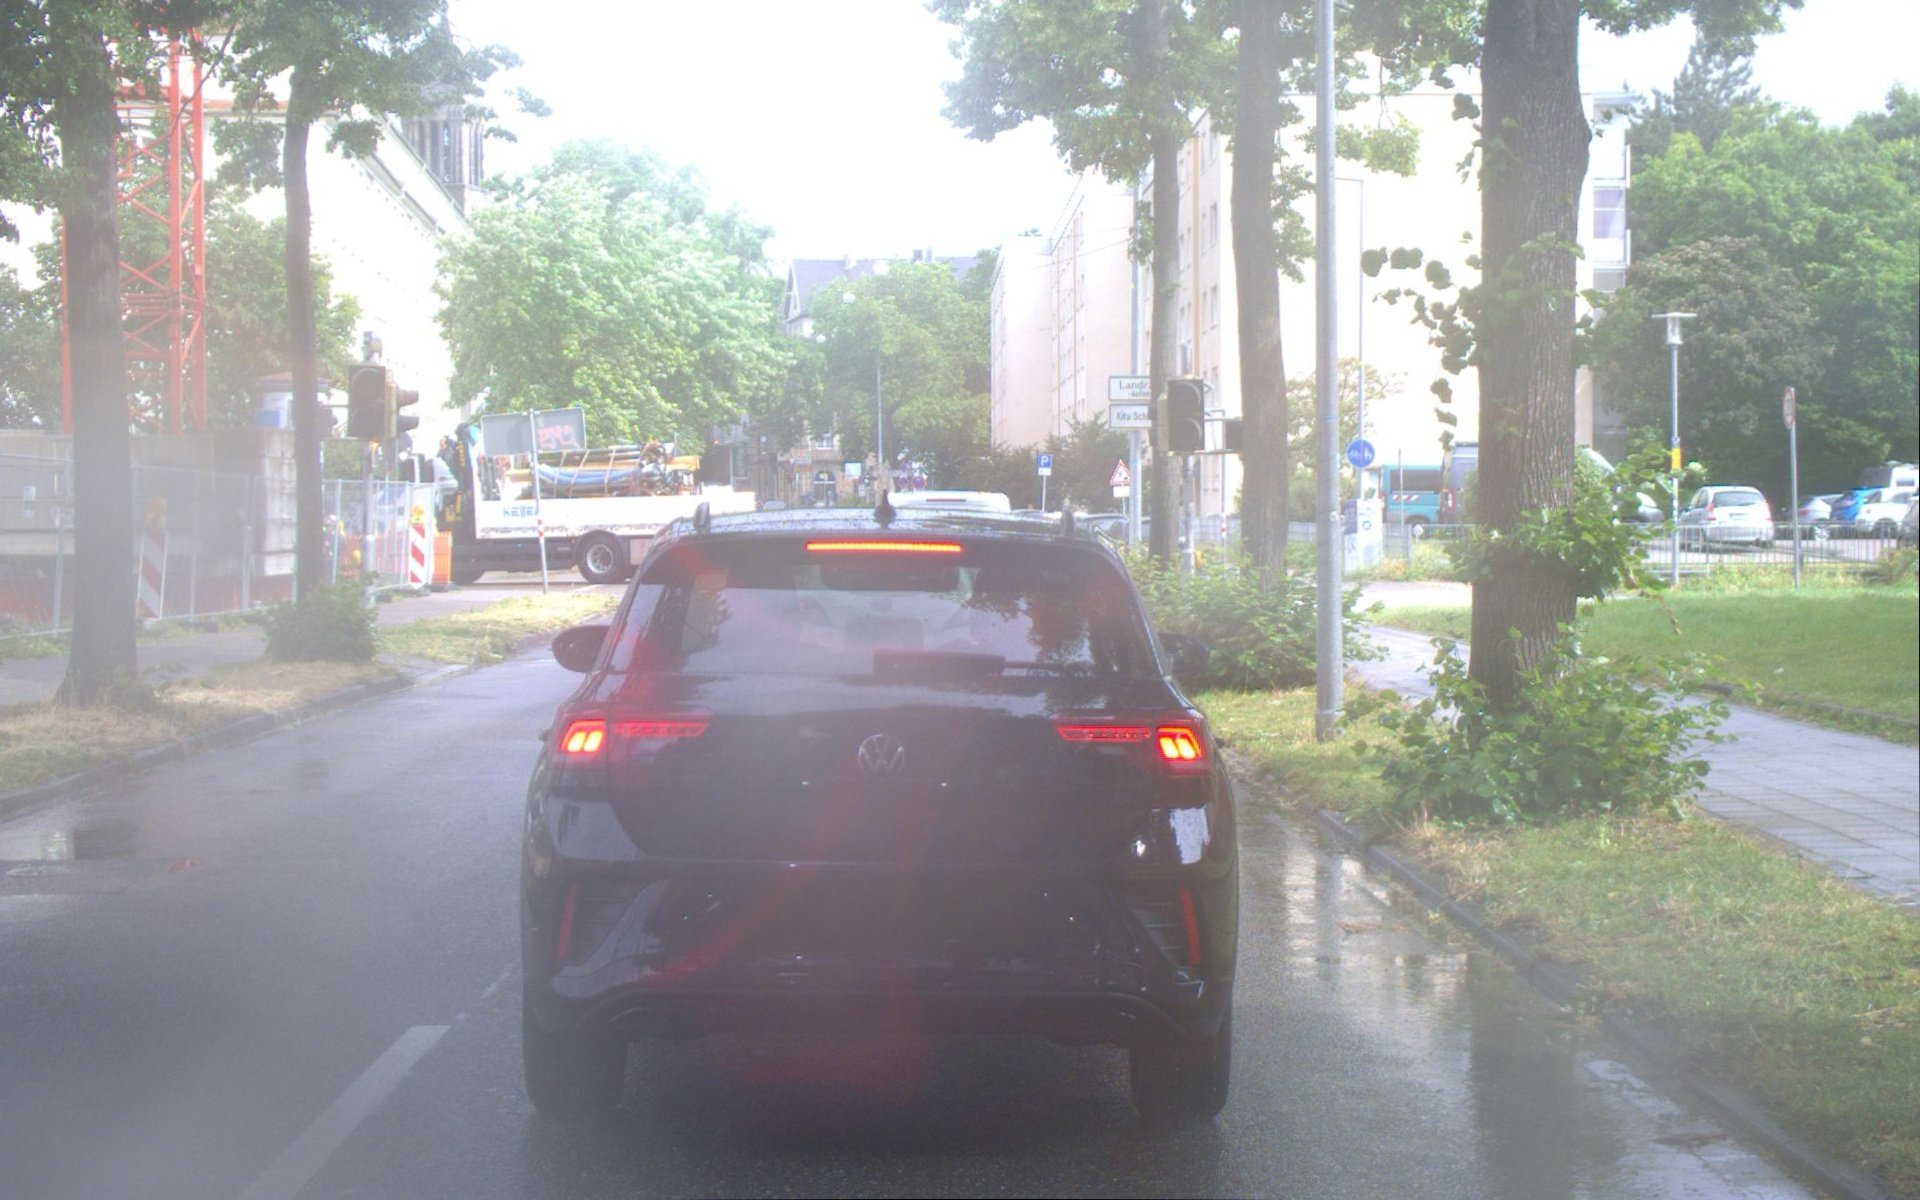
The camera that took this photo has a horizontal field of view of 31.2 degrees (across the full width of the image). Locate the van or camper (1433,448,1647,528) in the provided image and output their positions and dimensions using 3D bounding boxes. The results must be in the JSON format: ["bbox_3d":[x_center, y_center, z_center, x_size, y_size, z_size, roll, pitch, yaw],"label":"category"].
[{"bbox_3d":[14.177,-2.758,84.227,4.874,1.919,2.131,0,2,0],"label":"van or camper"}]

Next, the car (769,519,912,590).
[{"bbox_3d":[-3.097,-1.206,89.803,1.757,1.645,3.929,-2,2,32],"label":"car"}]

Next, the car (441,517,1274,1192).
[{"bbox_3d":[-0.258,0.536,9.857,1.894,1.517,4.000,0,2,-1],"label":"car"}]

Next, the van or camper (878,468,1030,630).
[{"bbox_3d":[-0.041,-0.683,43.654,1.819,1.941,4.195,1,2,1],"label":"van or camper"}]

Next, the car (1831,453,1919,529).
[{"bbox_3d":[25.782,-3.052,96.035,1.994,2.006,4.000,-3,1,4],"label":"car"}]

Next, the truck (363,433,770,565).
[{"bbox_3d":[-8.350,-2.183,72.792,8.223,2.647,2.811,1,3,22],"label":"truck"}]

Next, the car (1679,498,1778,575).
[{"bbox_3d":[17.981,-1.511,80.568,1.743,1.678,3.870,-3,1,6],"label":"car"}]

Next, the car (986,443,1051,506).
[{"bbox_3d":[1.904,-4.109,112.765,1.993,2.007,4.000,0,1,-1],"label":"car"}]

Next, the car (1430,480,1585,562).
[{"bbox_3d":[12.575,-1.814,79.071,3.408,1.775,1.760,-1,2,6],"label":"car"}]

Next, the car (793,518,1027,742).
[{"bbox_3d":[-0.355,0.202,29.184,1.680,1.702,3.909,-3,1,3],"label":"car"}]

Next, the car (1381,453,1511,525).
[{"bbox_3d":[13.344,-3.045,94.420,3.408,1.775,1.759,-3,1,9],"label":"car"}]

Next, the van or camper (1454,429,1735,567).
[{"bbox_3d":[12.349,-1.986,67.148,5.032,2.587,2.168,-1,1,-1],"label":"van or camper"}]

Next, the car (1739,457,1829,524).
[{"bbox_3d":[24.376,-3.231,101.801,1.867,1.850,3.809,-3,1,4],"label":"car"}]
